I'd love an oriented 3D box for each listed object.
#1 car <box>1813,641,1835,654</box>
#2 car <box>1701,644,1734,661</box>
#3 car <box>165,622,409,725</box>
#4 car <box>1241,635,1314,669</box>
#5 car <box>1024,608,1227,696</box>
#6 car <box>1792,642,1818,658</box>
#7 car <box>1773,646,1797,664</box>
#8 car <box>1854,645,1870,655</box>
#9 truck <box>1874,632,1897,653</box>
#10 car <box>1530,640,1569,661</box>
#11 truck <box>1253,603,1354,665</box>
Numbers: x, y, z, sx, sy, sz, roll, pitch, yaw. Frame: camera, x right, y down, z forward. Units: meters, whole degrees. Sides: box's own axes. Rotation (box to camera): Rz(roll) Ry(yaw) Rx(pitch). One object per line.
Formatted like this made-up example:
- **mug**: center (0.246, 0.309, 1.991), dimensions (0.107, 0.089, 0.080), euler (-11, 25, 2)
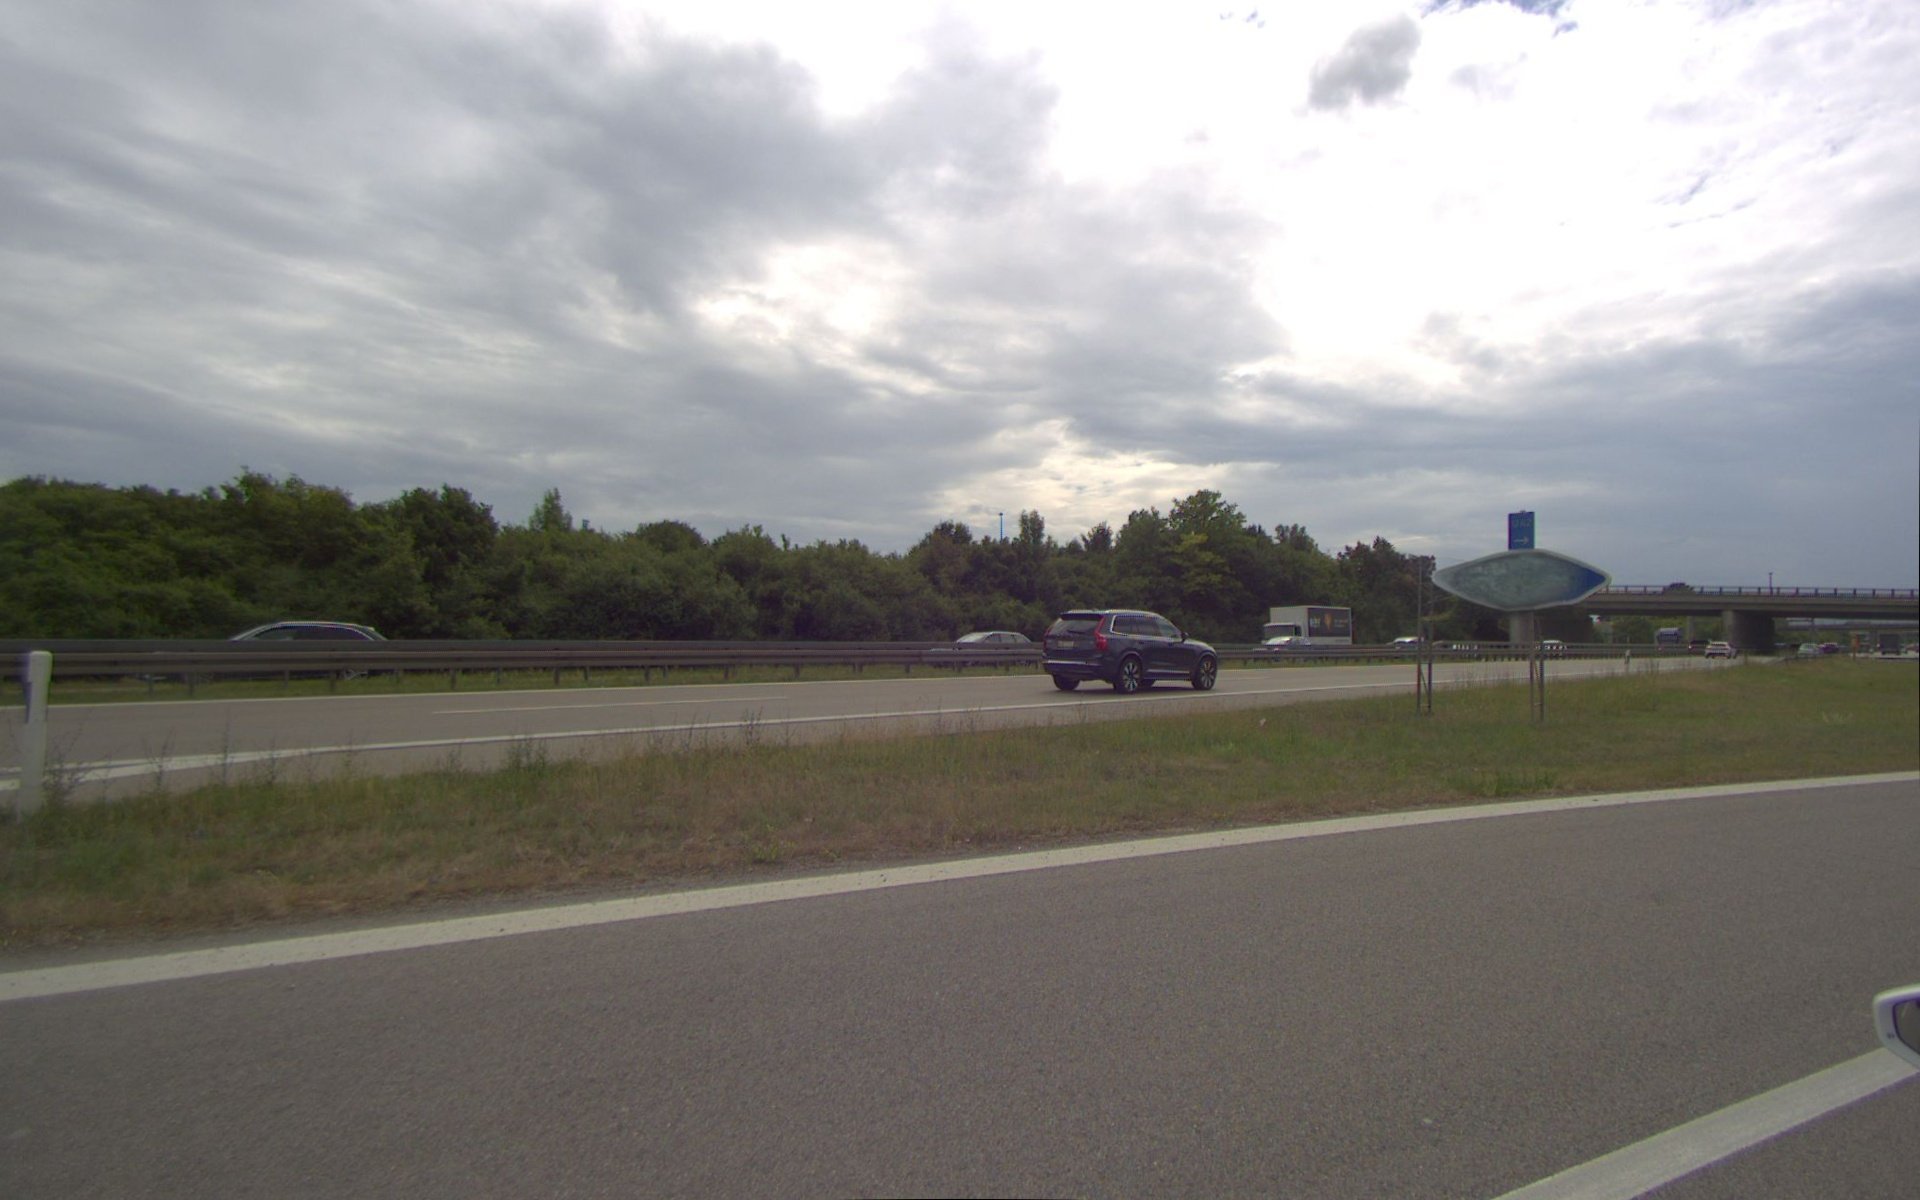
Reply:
- **car**: center (123.387, 6.768, 143.400), dimensions (4.797, 1.766, 1.974), euler (3, -3, -44)
- **car**: center (67.200, 4.657, 89.046), dimensions (1.817, 1.472, 4.352), euler (-1, -2, 44)
- **car**: center (-14.762, 1.545, 22.176), dimensions (4.189, 2.040, 1.907), euler (3, -2, -43)
- **car**: center (16.670, 2.711, 52.659), dimensions (3.973, 1.650, 1.974), euler (3, -2, -44)
- **car**: center (3.833, 1.139, 22.659), dimensions (4.890, 1.785, 1.975), euler (3, -2, -43)
- **car**: center (83.871, 4.945, 99.728), dimensions (1.699, 1.539, 3.976), euler (-1, -2, 44)
- **car**: center (99.488, 6.648, 121.156), dimensions (1.971, 2.040, 3.979), euler (2, -1, 42)
- **car**: center (159.845, 8.890, 177.990), dimensions (4.308, 1.782, 1.827), euler (3, -2, -45)
- **truck**: center (152.243, 6.978, 165.210), dimensions (7.872, 3.415, 2.443), euler (3, -3, -45)
- **car**: center (48.569, 4.139, 82.712), dimensions (1.854, 1.595, 3.975), euler (0, -2, 45)
- **truck**: center (22.029, 2.191, 64.176), dimensions (8.143, 3.694, 2.732), euler (3, -2, -44)
